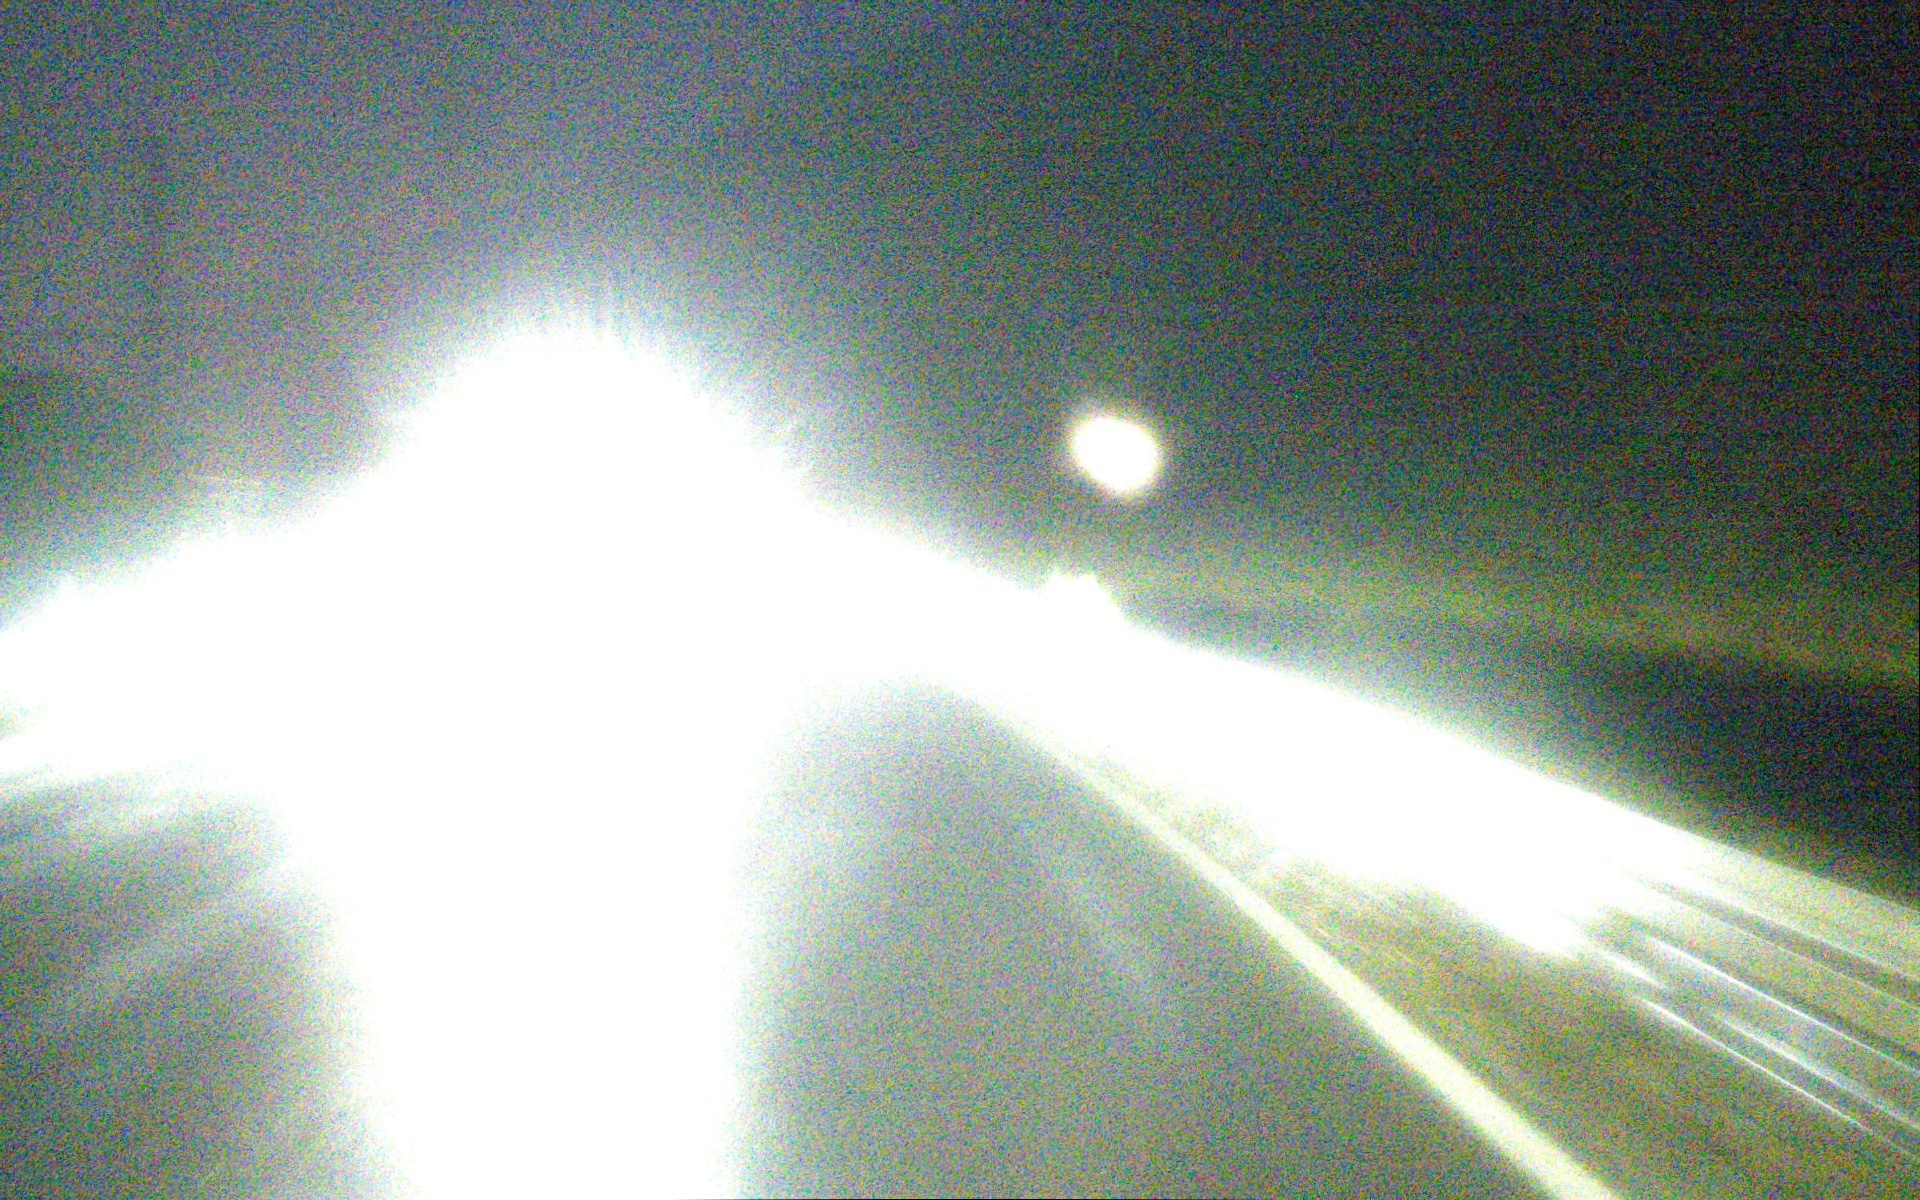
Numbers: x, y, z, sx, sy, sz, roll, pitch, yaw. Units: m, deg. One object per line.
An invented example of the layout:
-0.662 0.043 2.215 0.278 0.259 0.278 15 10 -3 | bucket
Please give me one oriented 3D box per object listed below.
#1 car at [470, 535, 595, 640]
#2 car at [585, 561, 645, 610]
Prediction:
-6.307 -0.204 51.009 1.701 1.501 3.684 0 1 -5 | car
-10.727 -0.462 106.807 1.832 1.478 4.070 0 1 -6 | car
